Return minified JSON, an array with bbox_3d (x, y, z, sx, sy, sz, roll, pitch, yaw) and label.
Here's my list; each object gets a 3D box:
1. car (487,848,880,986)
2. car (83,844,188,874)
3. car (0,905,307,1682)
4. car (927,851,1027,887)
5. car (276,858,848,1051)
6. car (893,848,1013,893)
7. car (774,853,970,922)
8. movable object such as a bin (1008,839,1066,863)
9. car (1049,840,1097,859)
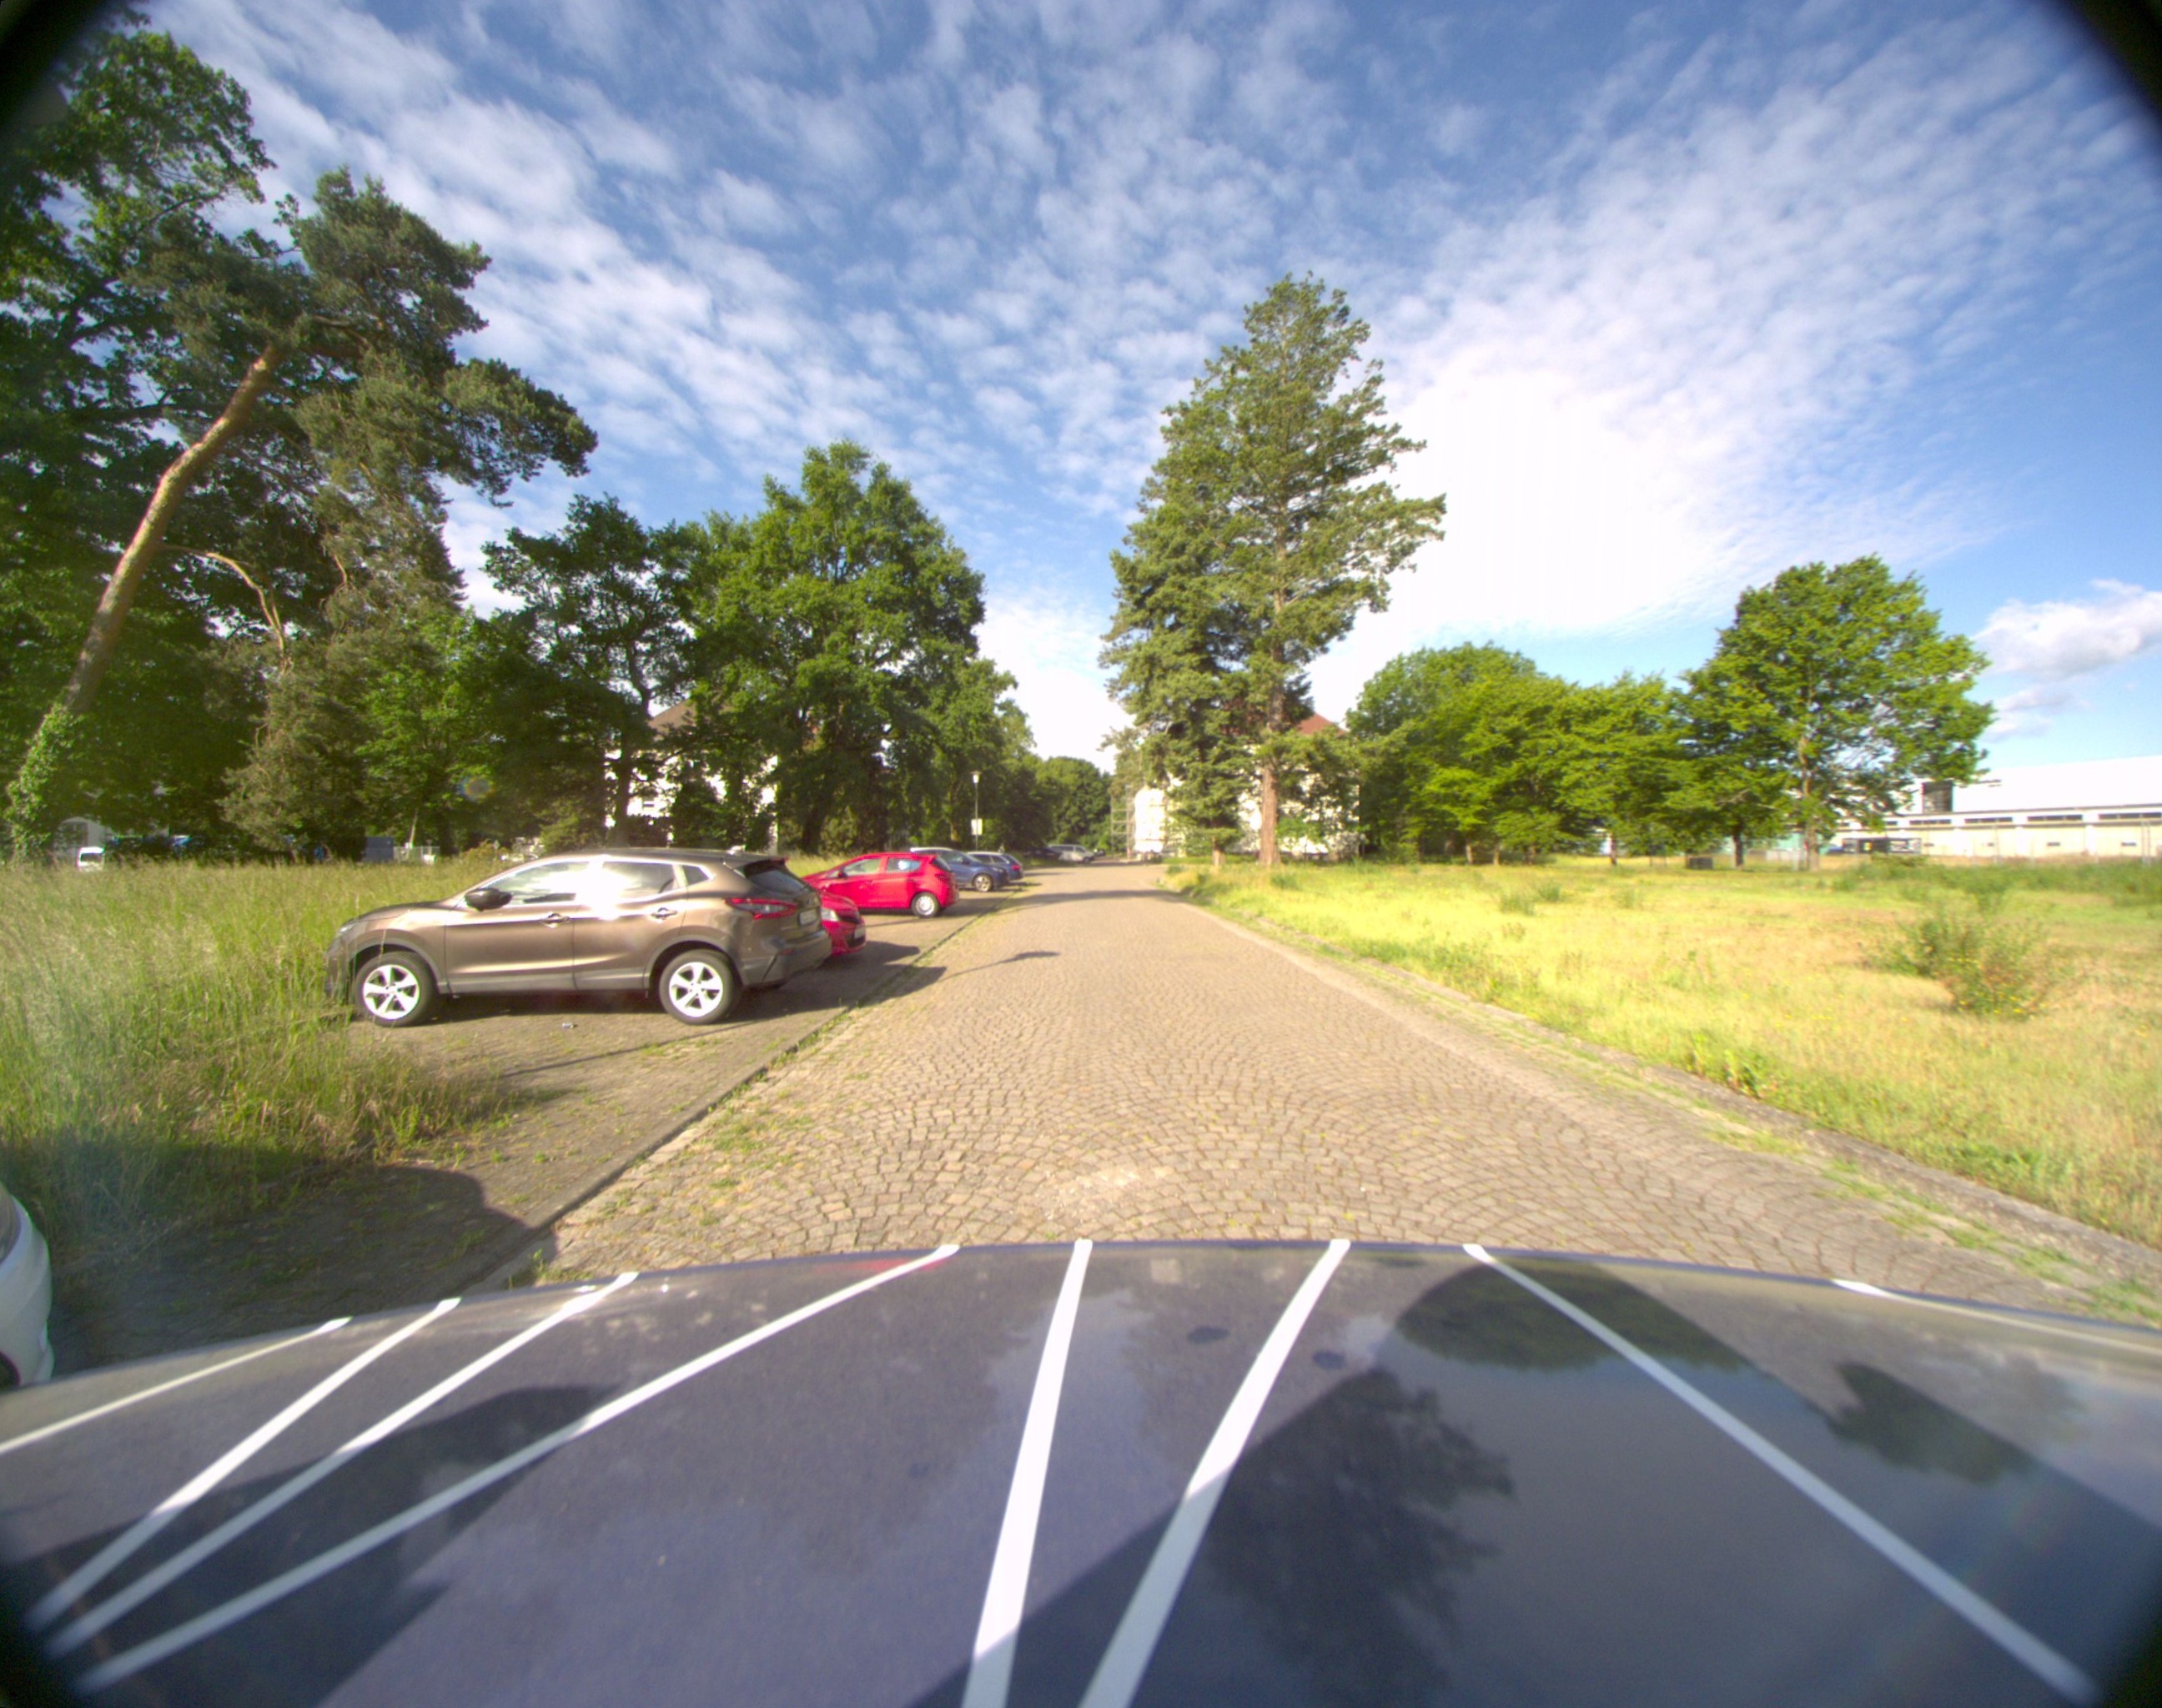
[{"bbox_3d":[-5.068,0.768,10.207,4.237,1.589,1.934,1,2,-3],"label":"car"},{"bbox_3d":[-68.239,0.298,54.972,1.906,1.928,4.394,-2,2,1],"label":"car"},{"bbox_3d":[-4.458,0.921,1.219,4.409,1.568,1.939,1,1,0],"label":"car"},{"bbox_3d":[-4.430,0.623,32.812,4.098,1.415,1.784,1,0,-2],"label":"car"},{"bbox_3d":[-4.714,0.860,7.503,4.237,1.589,1.934,0,2,-3],"label":"car"},{"bbox_3d":[-4.642,0.591,28.036,4.098,1.548,1.852,1,0,-2],"label":"car"},{"bbox_3d":[-4.801,0.746,17.902,4.098,1.451,1.852,1,0,-2],"label":"car"},{"bbox_3d":[-3.938,-0.258,68.649,4.865,2.002,2.002,-1,1,13],"label":"movable object such as a bin"},{"bbox_3d":[-0.890,-0.505,81.577,4.933,2.002,1.998,1,1,-6],"label":"car"}]
